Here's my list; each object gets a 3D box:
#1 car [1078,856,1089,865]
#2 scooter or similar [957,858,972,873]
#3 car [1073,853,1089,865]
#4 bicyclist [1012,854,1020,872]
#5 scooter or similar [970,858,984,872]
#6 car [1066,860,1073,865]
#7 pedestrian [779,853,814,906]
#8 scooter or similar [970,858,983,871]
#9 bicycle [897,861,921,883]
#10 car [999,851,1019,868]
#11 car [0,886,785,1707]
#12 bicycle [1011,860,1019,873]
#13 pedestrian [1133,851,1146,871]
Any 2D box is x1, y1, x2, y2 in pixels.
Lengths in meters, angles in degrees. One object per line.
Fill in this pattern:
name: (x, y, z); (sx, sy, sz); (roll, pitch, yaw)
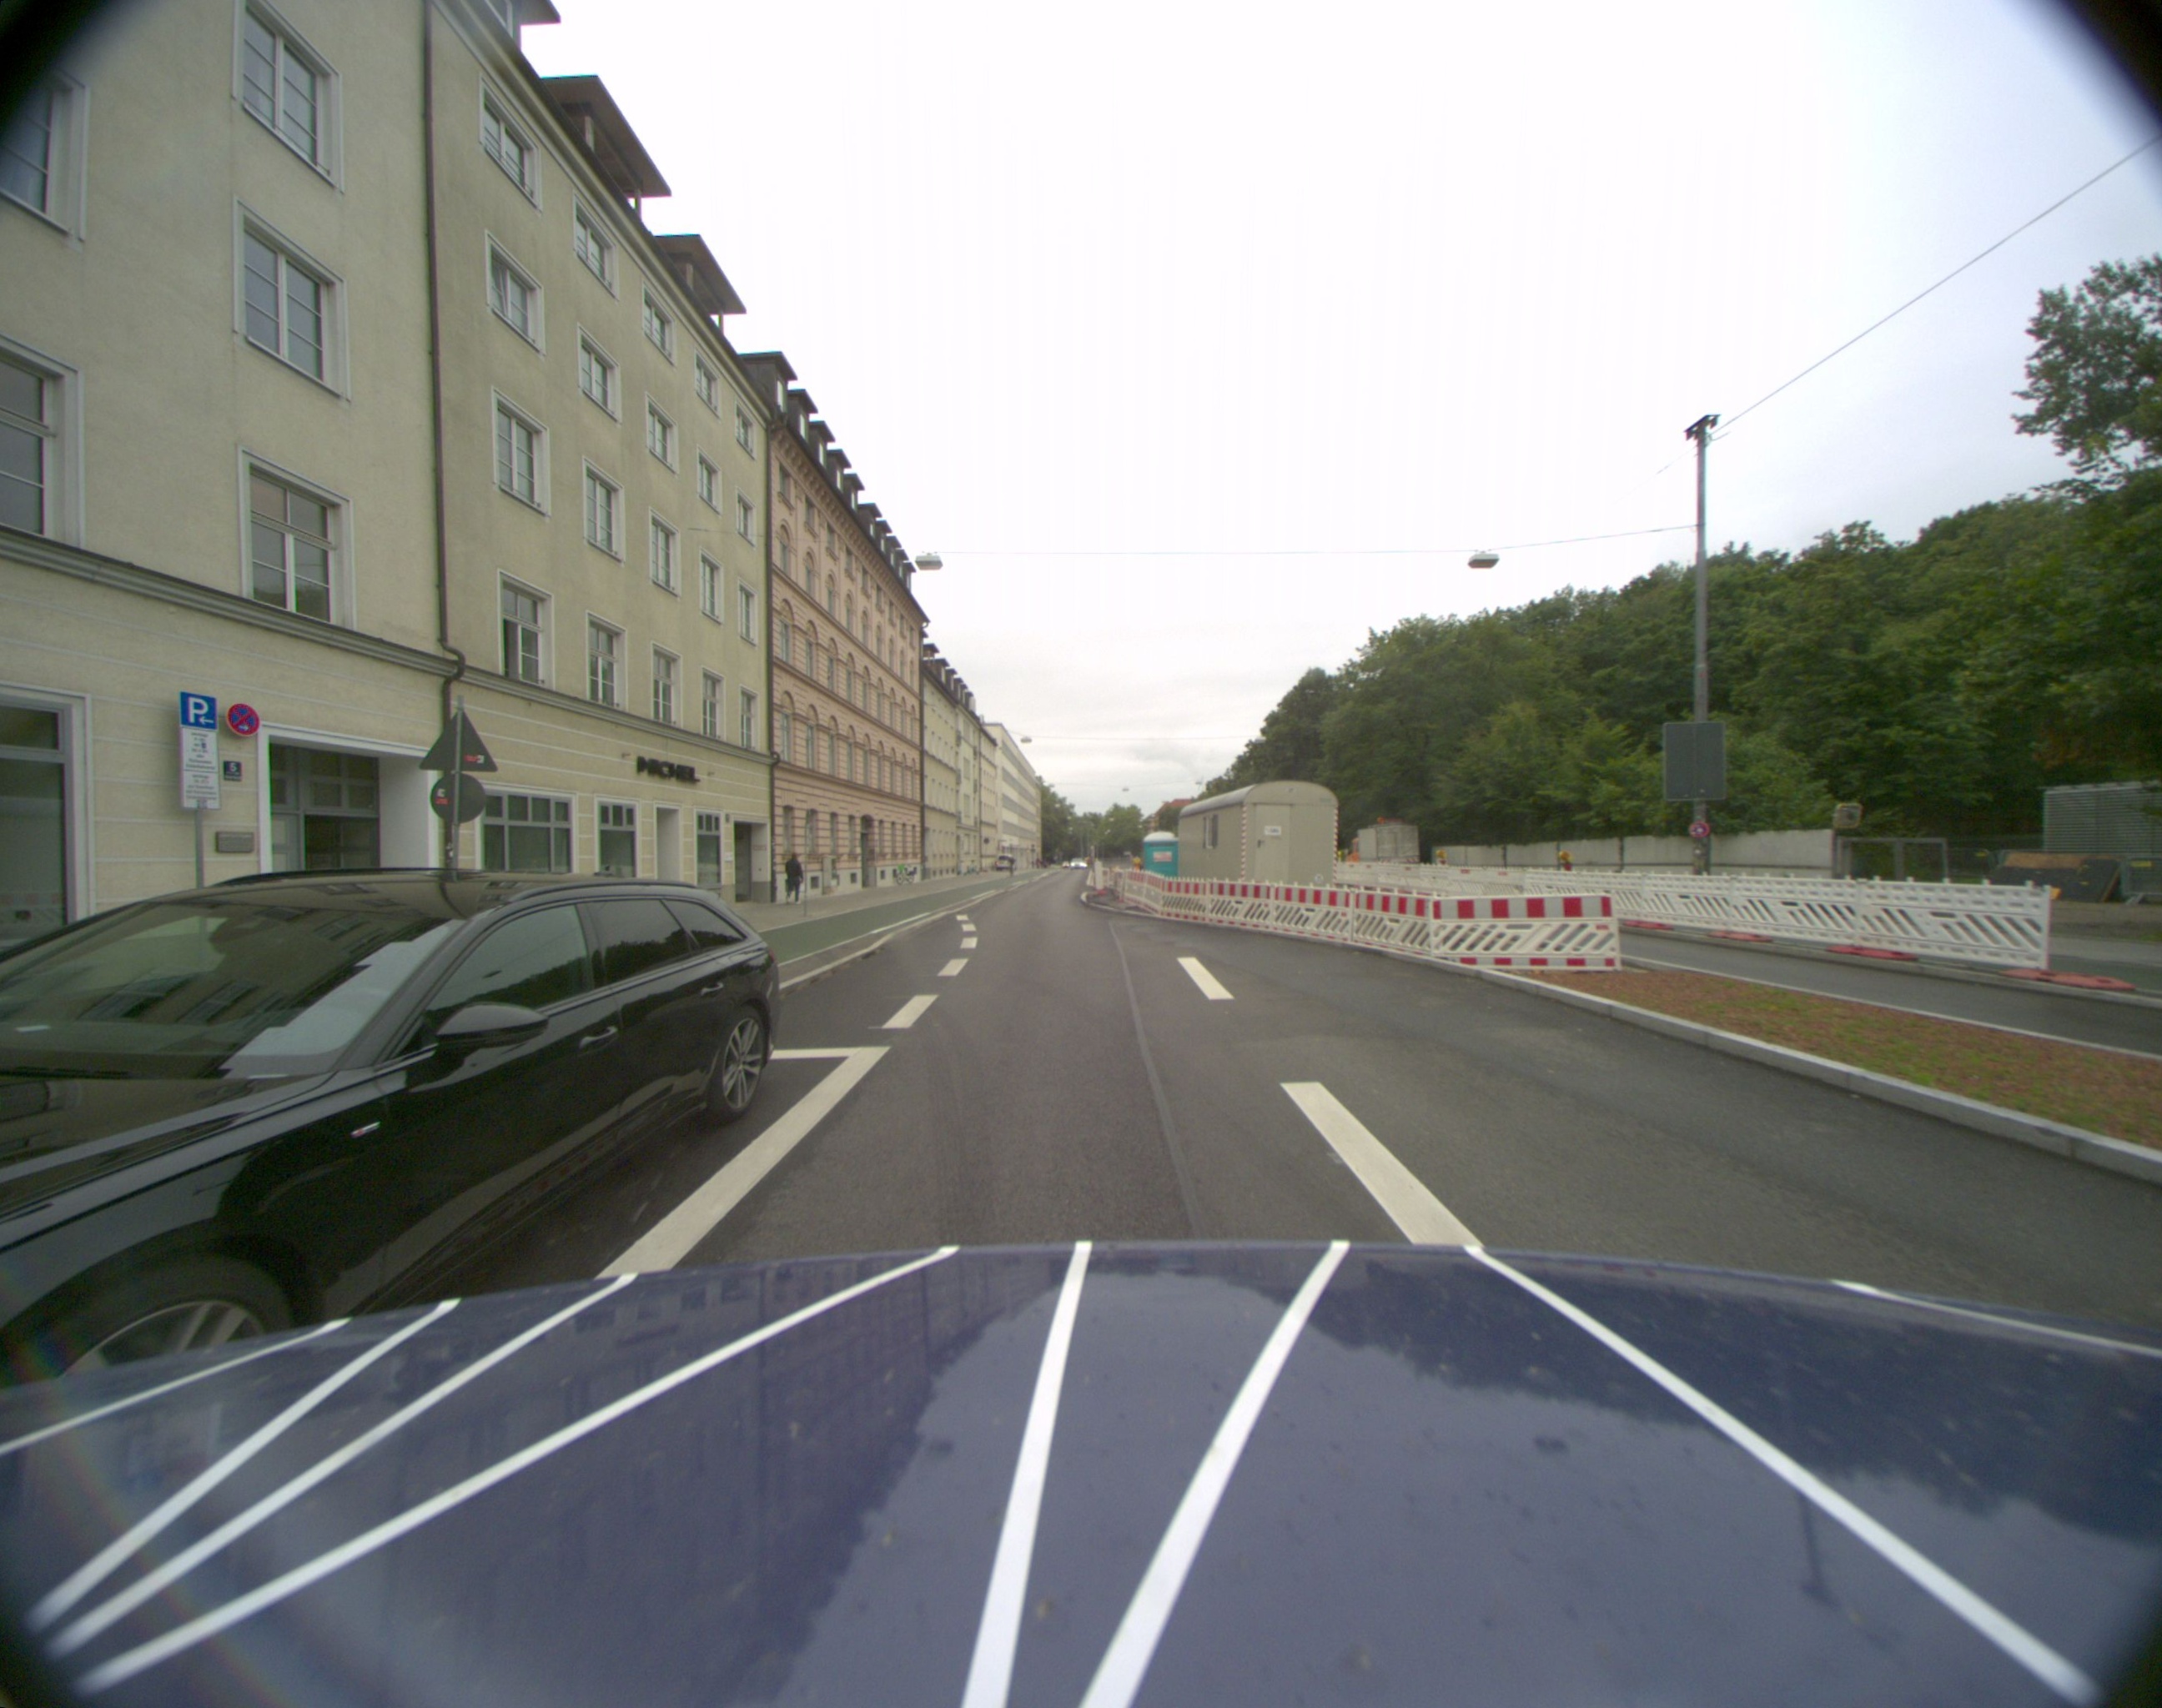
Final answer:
car: (0.397, 1.144, 131.185); (1.759, 1.461, 3.999); (-2, 0, -3)
scooter or similar: (-9.389, 0.920, 61.283); (0.552, 1.238, 1.079); (0, 1, 36)
car: (0.049, 0.681, 98.816); (1.758, 1.461, 4.001); (-2, 0, 4)
bicyclist: (-5.515, 0.770, 64.175); (0.632, 1.459, 0.652); (-1, 1, -6)
scooter or similar: (-9.050, 0.926, 66.190); (1.078, 1.185, 0.453); (-1, 1, -28)
car: (-3.264, 2.552, 224.169); (1.998, 1.560, 4.000); (-1, 0, 0)
pedestrian: (-9.472, 0.828, 25.312); (0.795, 1.735, 0.833); (-1, 1, 1)
scooter or similar: (-9.297, 0.939, 67.530); (1.079, 1.185, 0.436); (-1, 1, -39)
bicycle: (-9.683, 1.011, 42.739); (0.556, 1.170, 1.727); (0, 0, 16)
car: (-7.937, 0.542, 83.819); (1.766, 1.821, 4.000); (-1, 0, 1)
car: (-2.836, 0.991, 2.660); (1.813, 1.472, 4.461); (3, 0, 0)
bicycle: (-5.581, 1.074, 64.155); (0.632, 1.031, 2.017); (-1, 0, -6)
pedestrian: (5.333, 0.658, 69.322); (0.861, 1.826, 0.873); (-1, 1, -23)
